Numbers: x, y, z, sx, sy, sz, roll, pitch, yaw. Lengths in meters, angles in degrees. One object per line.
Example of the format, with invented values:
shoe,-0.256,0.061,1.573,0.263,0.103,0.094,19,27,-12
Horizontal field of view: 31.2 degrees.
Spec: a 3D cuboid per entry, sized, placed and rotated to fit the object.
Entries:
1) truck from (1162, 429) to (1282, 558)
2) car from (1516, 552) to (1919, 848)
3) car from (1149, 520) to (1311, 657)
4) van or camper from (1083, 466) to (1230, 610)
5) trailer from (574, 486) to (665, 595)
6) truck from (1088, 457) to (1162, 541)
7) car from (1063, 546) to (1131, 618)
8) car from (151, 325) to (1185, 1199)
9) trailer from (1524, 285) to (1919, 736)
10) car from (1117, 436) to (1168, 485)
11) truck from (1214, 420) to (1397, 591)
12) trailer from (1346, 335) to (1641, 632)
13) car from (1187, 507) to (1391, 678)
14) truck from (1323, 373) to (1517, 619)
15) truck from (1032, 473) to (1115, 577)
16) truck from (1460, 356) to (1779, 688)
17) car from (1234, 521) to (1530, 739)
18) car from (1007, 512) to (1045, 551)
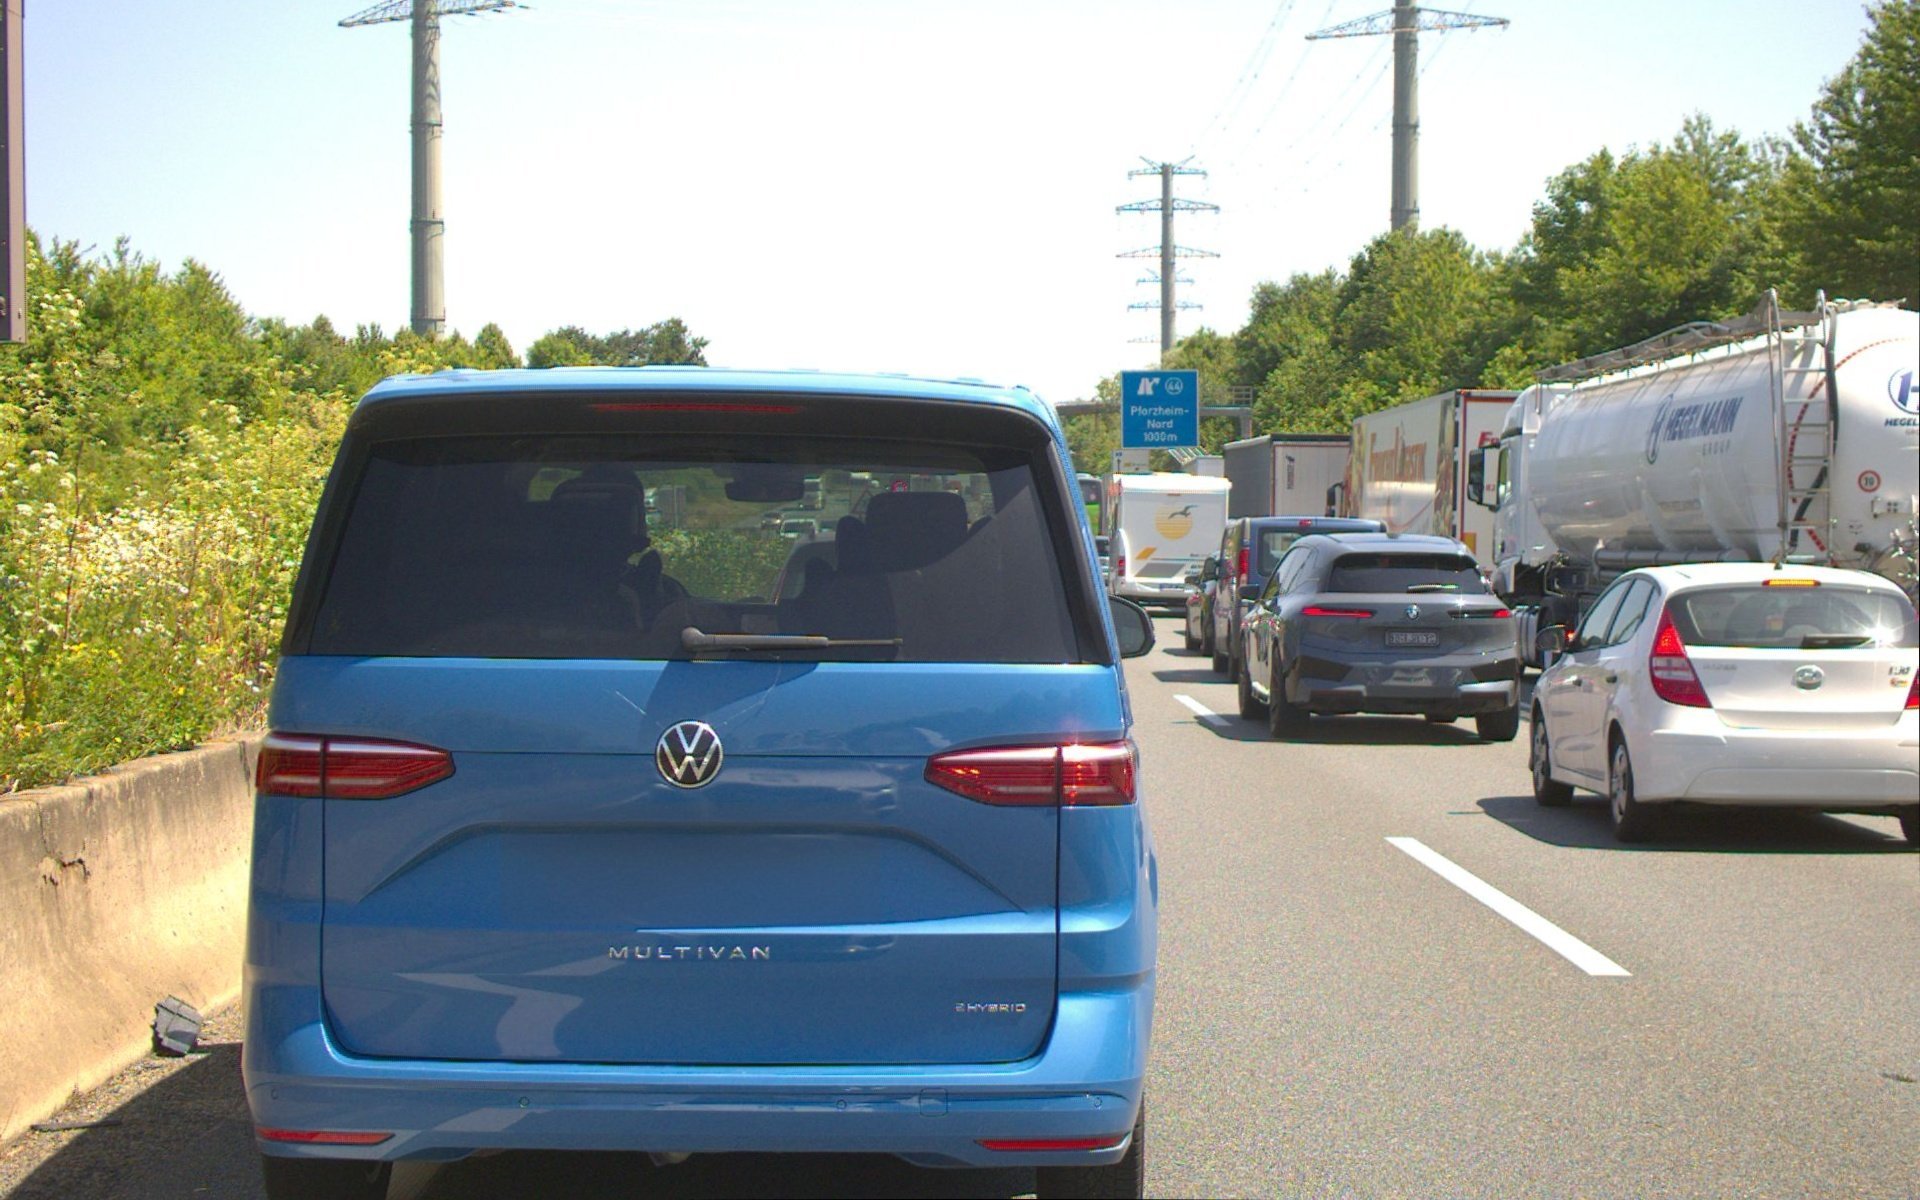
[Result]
truck,8.099,-3.218,107.884,2.895,3.753,13.345,0,0,1
car,4.322,0.500,19.286,1.817,1.480,4.000,0,0,1
car,3.957,-0.165,51.016,1.923,1.919,4.236,-1,0,-1
van or camper,4.231,-1.324,75.434,2.957,3.011,7.102,0,0,1
trailer,-16.082,-2.766,163.243,3.322,5.030,9.591,0,0,0
truck,9.222,-5.624,193.547,3.566,4.502,10.294,0,0,-1
car,3.893,-0.496,98.352,1.836,1.992,4.000,-1,0,1
car,-0.558,0.406,8.491,1.920,1.880,4.000,1,1,0
trailer,8.130,-0.838,34.981,2.761,3.831,11.487,0,1,-1
car,7.928,-6.059,149.754,1.993,2.007,4.000,0,0,0
truck,8.159,-2.132,83.258,3.006,3.753,15.713,0,0,1
trailer,8.712,-1.825,57.814,2.912,4.453,12.155,0,1,-1
car,3.922,-0.090,41.632,1.923,1.919,4.236,-1,0,-1
truck,8.631,-1.926,65.106,2.912,4.453,5.143,0,1,-1
truck,4.190,-2.762,129.175,2.895,3.753,10.140,0,0,1
truck,8.018,-0.936,42.458,2.793,3.823,5.572,0,1,-1
car,3.515,0.232,29.470,1.999,1.709,4.625,0,0,1
car,3.722,-3.859,194.345,1.993,2.118,4.000,0,0,-1
